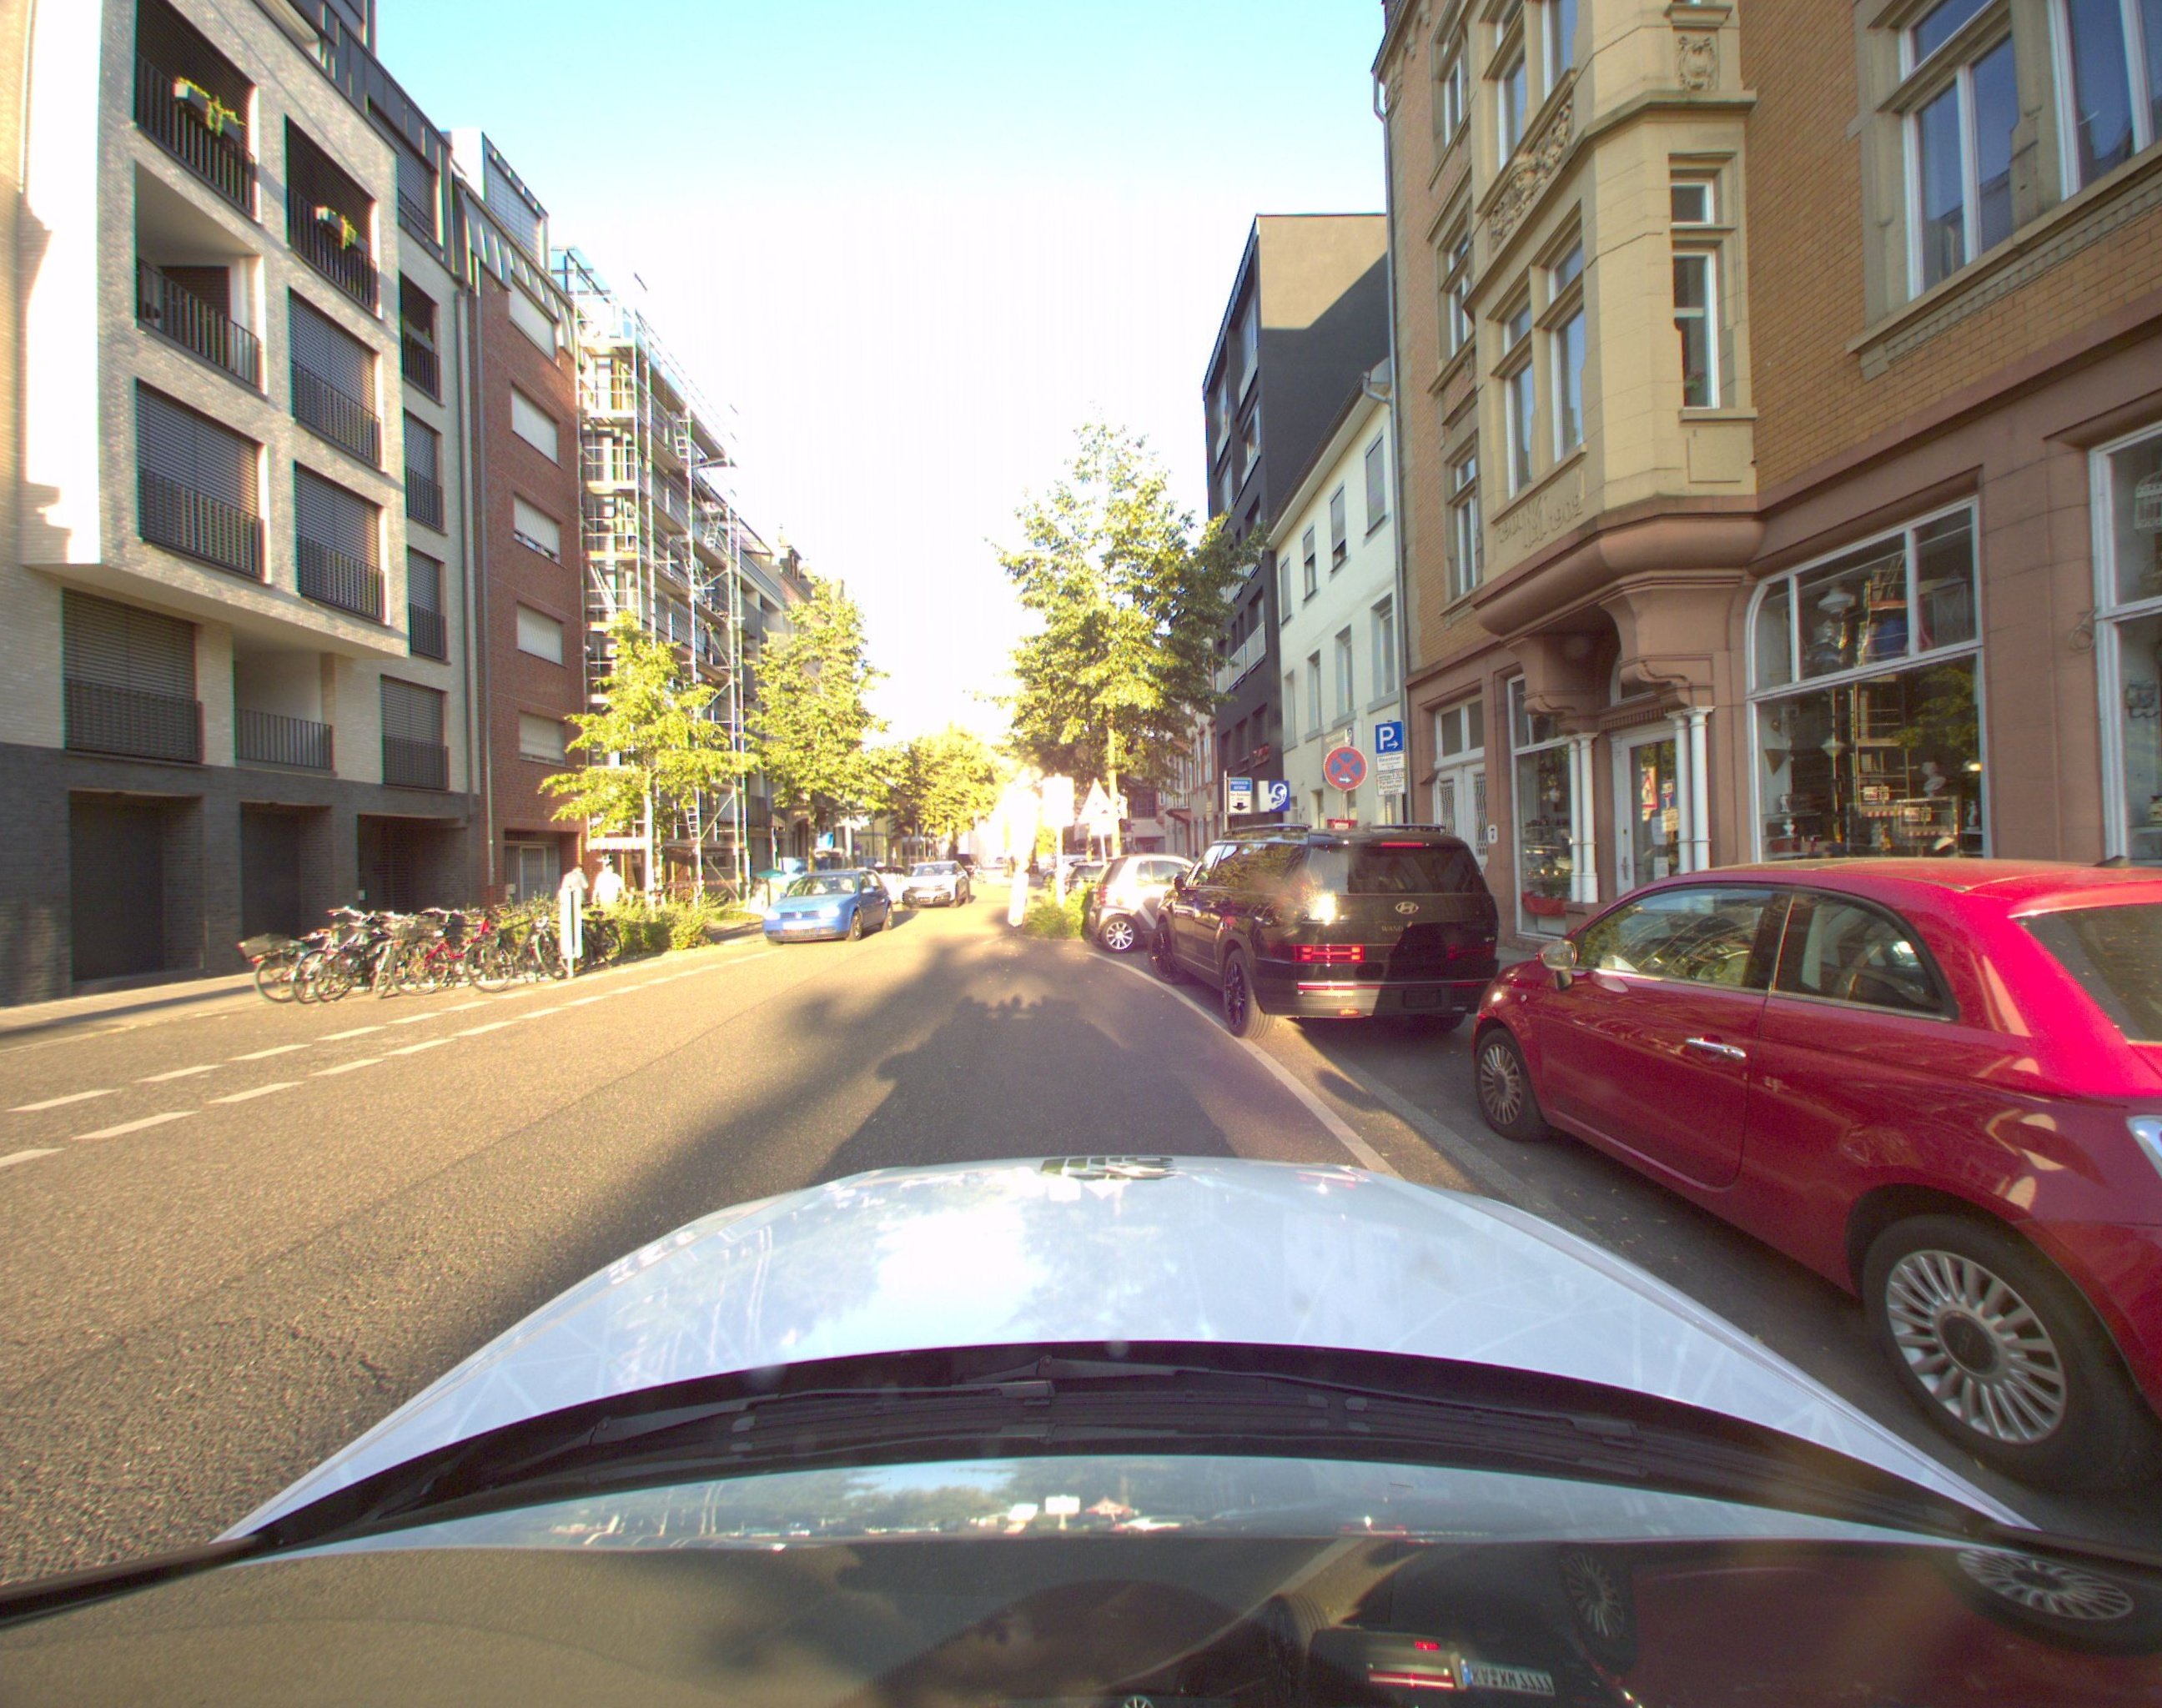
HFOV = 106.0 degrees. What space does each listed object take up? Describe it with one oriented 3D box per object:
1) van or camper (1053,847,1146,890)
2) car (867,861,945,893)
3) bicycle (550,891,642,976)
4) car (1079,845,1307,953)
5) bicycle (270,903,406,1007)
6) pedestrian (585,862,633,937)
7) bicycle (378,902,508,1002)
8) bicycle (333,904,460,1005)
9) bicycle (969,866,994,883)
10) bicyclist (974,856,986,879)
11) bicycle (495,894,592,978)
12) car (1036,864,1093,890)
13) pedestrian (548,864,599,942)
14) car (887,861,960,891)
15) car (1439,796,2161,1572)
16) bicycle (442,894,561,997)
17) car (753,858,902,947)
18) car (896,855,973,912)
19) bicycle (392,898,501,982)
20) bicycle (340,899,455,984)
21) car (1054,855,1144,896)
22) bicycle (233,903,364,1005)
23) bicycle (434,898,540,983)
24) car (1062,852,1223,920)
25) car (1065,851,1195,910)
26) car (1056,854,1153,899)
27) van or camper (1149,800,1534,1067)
[{"bbox_3d":[0.852,0.700,39.577,4.430,2.005,1.856,0,0,-4],"label":"van or camper"},{"bbox_3d":[-9.978,1.299,46.656,3.973,1.684,1.891,-1,0,1],"label":"car"},{"bbox_3d":[-7.581,1.209,12.806,0.506,1.179,1.551,-2,0,-1],"label":"bicycle"},{"bbox_3d":[1.814,0.700,13.628,3.470,1.575,1.502,-2,0,-10],"label":"car"},{"bbox_3d":[-9.870,1.300,10.889,0.385,1.189,1.551,-2,0,-1],"label":"bicycle"},{"bbox_3d":[-11.583,1.095,20.005,0.739,1.783,0.656,-2,0,-3],"label":"pedestrian"},{"bbox_3d":[-8.545,1.273,10.984,0.415,1.157,1.554,-2,0,4],"label":"bicycle"},{"bbox_3d":[-9.108,1.292,10.901,0.379,1.159,1.551,-2,0,-1],"label":"bicycle"},{"bbox_3d":[-7.030,1.463,57.498,0.518,1.132,2.251,-1,0,-43],"label":"bicycle"},{"bbox_3d":[-7.150,0.983,57.599,0.502,1.606,0.755,-1,-1,-43],"label":"bicyclist"},{"bbox_3d":[-8.385,1.246,12.768,0.486,1.163,1.551,-2,0,-1],"label":"bicycle"},{"bbox_3d":[-1.014,1.436,51.926,1.834,1.568,3.720,-1,0,32],"label":"car"},{"bbox_3d":[-12.015,1.147,19.302,0.739,1.783,0.656,-2,0,-1],"label":"pedestrian"},{"bbox_3d":[-9.495,1.317,49.348,3.973,1.684,1.891,-1,0,1],"label":"car"},{"bbox_3d":[2.952,0.662,3.284,1.520,1.570,3.421,-1,0,0],"label":"car"},{"bbox_3d":[-7.789,1.188,11.026,0.496,1.220,1.551,-2,0,-1],"label":"bicycle"},{"bbox_3d":[-5.124,0.903,17.071,1.682,1.563,4.119,-3,0,1],"label":"car"},{"bbox_3d":[-5.003,0.964,28.442,1.867,1.697,4.319,-4,0,-1],"label":"car"},{"bbox_3d":[-9.844,1.299,12.696,0.466,1.144,1.551,-2,0,-1],"label":"bicycle"},{"bbox_3d":[-10.542,1.314,12.621,0.456,1.132,1.551,-2,0,-1],"label":"bicycle"},{"bbox_3d":[0.710,0.880,34.451,3.677,1.670,1.856,0,0,-4],"label":"car"},{"bbox_3d":[-10.410,1.288,10.895,0.386,1.183,1.405,-2,0,-1],"label":"bicycle"},{"bbox_3d":[-9.146,1.295,12.606,0.486,1.149,1.551,-2,0,-1],"label":"bicycle"},{"bbox_3d":[1.522,0.794,21.274,3.987,1.670,1.856,0,0,-4],"label":"car"},{"bbox_3d":[1.388,0.755,24.114,3.677,1.670,1.856,0,0,-4],"label":"car"},{"bbox_3d":[0.871,0.858,32.109,3.677,1.670,1.856,0,0,-4],"label":"car"},{"bbox_3d":[2.029,0.545,7.902,1.887,1.807,4.450,-1,0,-6],"label":"van or camper"}]
